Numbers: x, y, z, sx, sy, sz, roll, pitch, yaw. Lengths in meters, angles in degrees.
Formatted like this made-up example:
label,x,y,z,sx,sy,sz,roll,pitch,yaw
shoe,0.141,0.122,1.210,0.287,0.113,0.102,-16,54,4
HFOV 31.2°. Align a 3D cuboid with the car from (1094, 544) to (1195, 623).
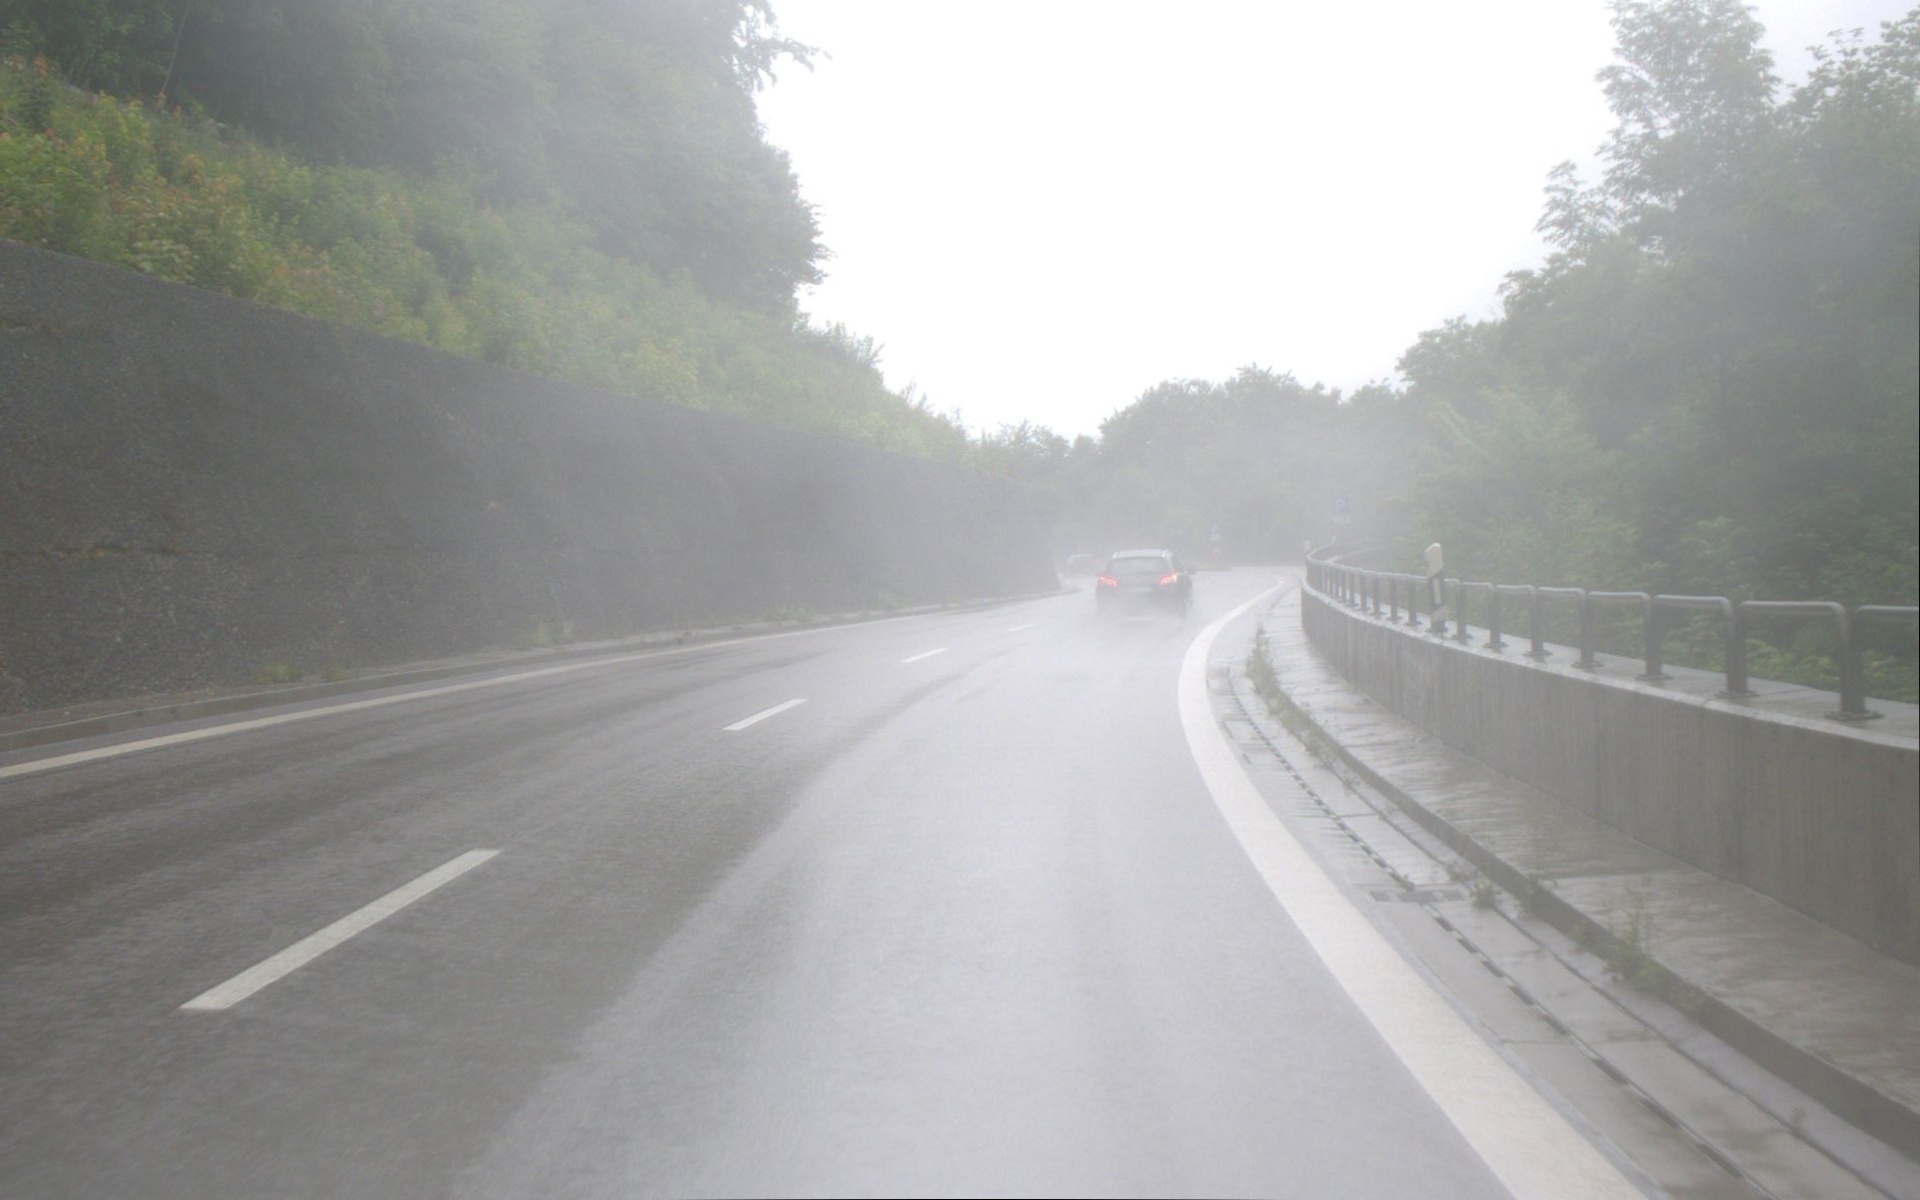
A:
label,x,y,z,sx,sy,sz,roll,pitch,yaw
car,3.676,-0.351,69.099,1.904,1.494,4.000,-2,1,2
